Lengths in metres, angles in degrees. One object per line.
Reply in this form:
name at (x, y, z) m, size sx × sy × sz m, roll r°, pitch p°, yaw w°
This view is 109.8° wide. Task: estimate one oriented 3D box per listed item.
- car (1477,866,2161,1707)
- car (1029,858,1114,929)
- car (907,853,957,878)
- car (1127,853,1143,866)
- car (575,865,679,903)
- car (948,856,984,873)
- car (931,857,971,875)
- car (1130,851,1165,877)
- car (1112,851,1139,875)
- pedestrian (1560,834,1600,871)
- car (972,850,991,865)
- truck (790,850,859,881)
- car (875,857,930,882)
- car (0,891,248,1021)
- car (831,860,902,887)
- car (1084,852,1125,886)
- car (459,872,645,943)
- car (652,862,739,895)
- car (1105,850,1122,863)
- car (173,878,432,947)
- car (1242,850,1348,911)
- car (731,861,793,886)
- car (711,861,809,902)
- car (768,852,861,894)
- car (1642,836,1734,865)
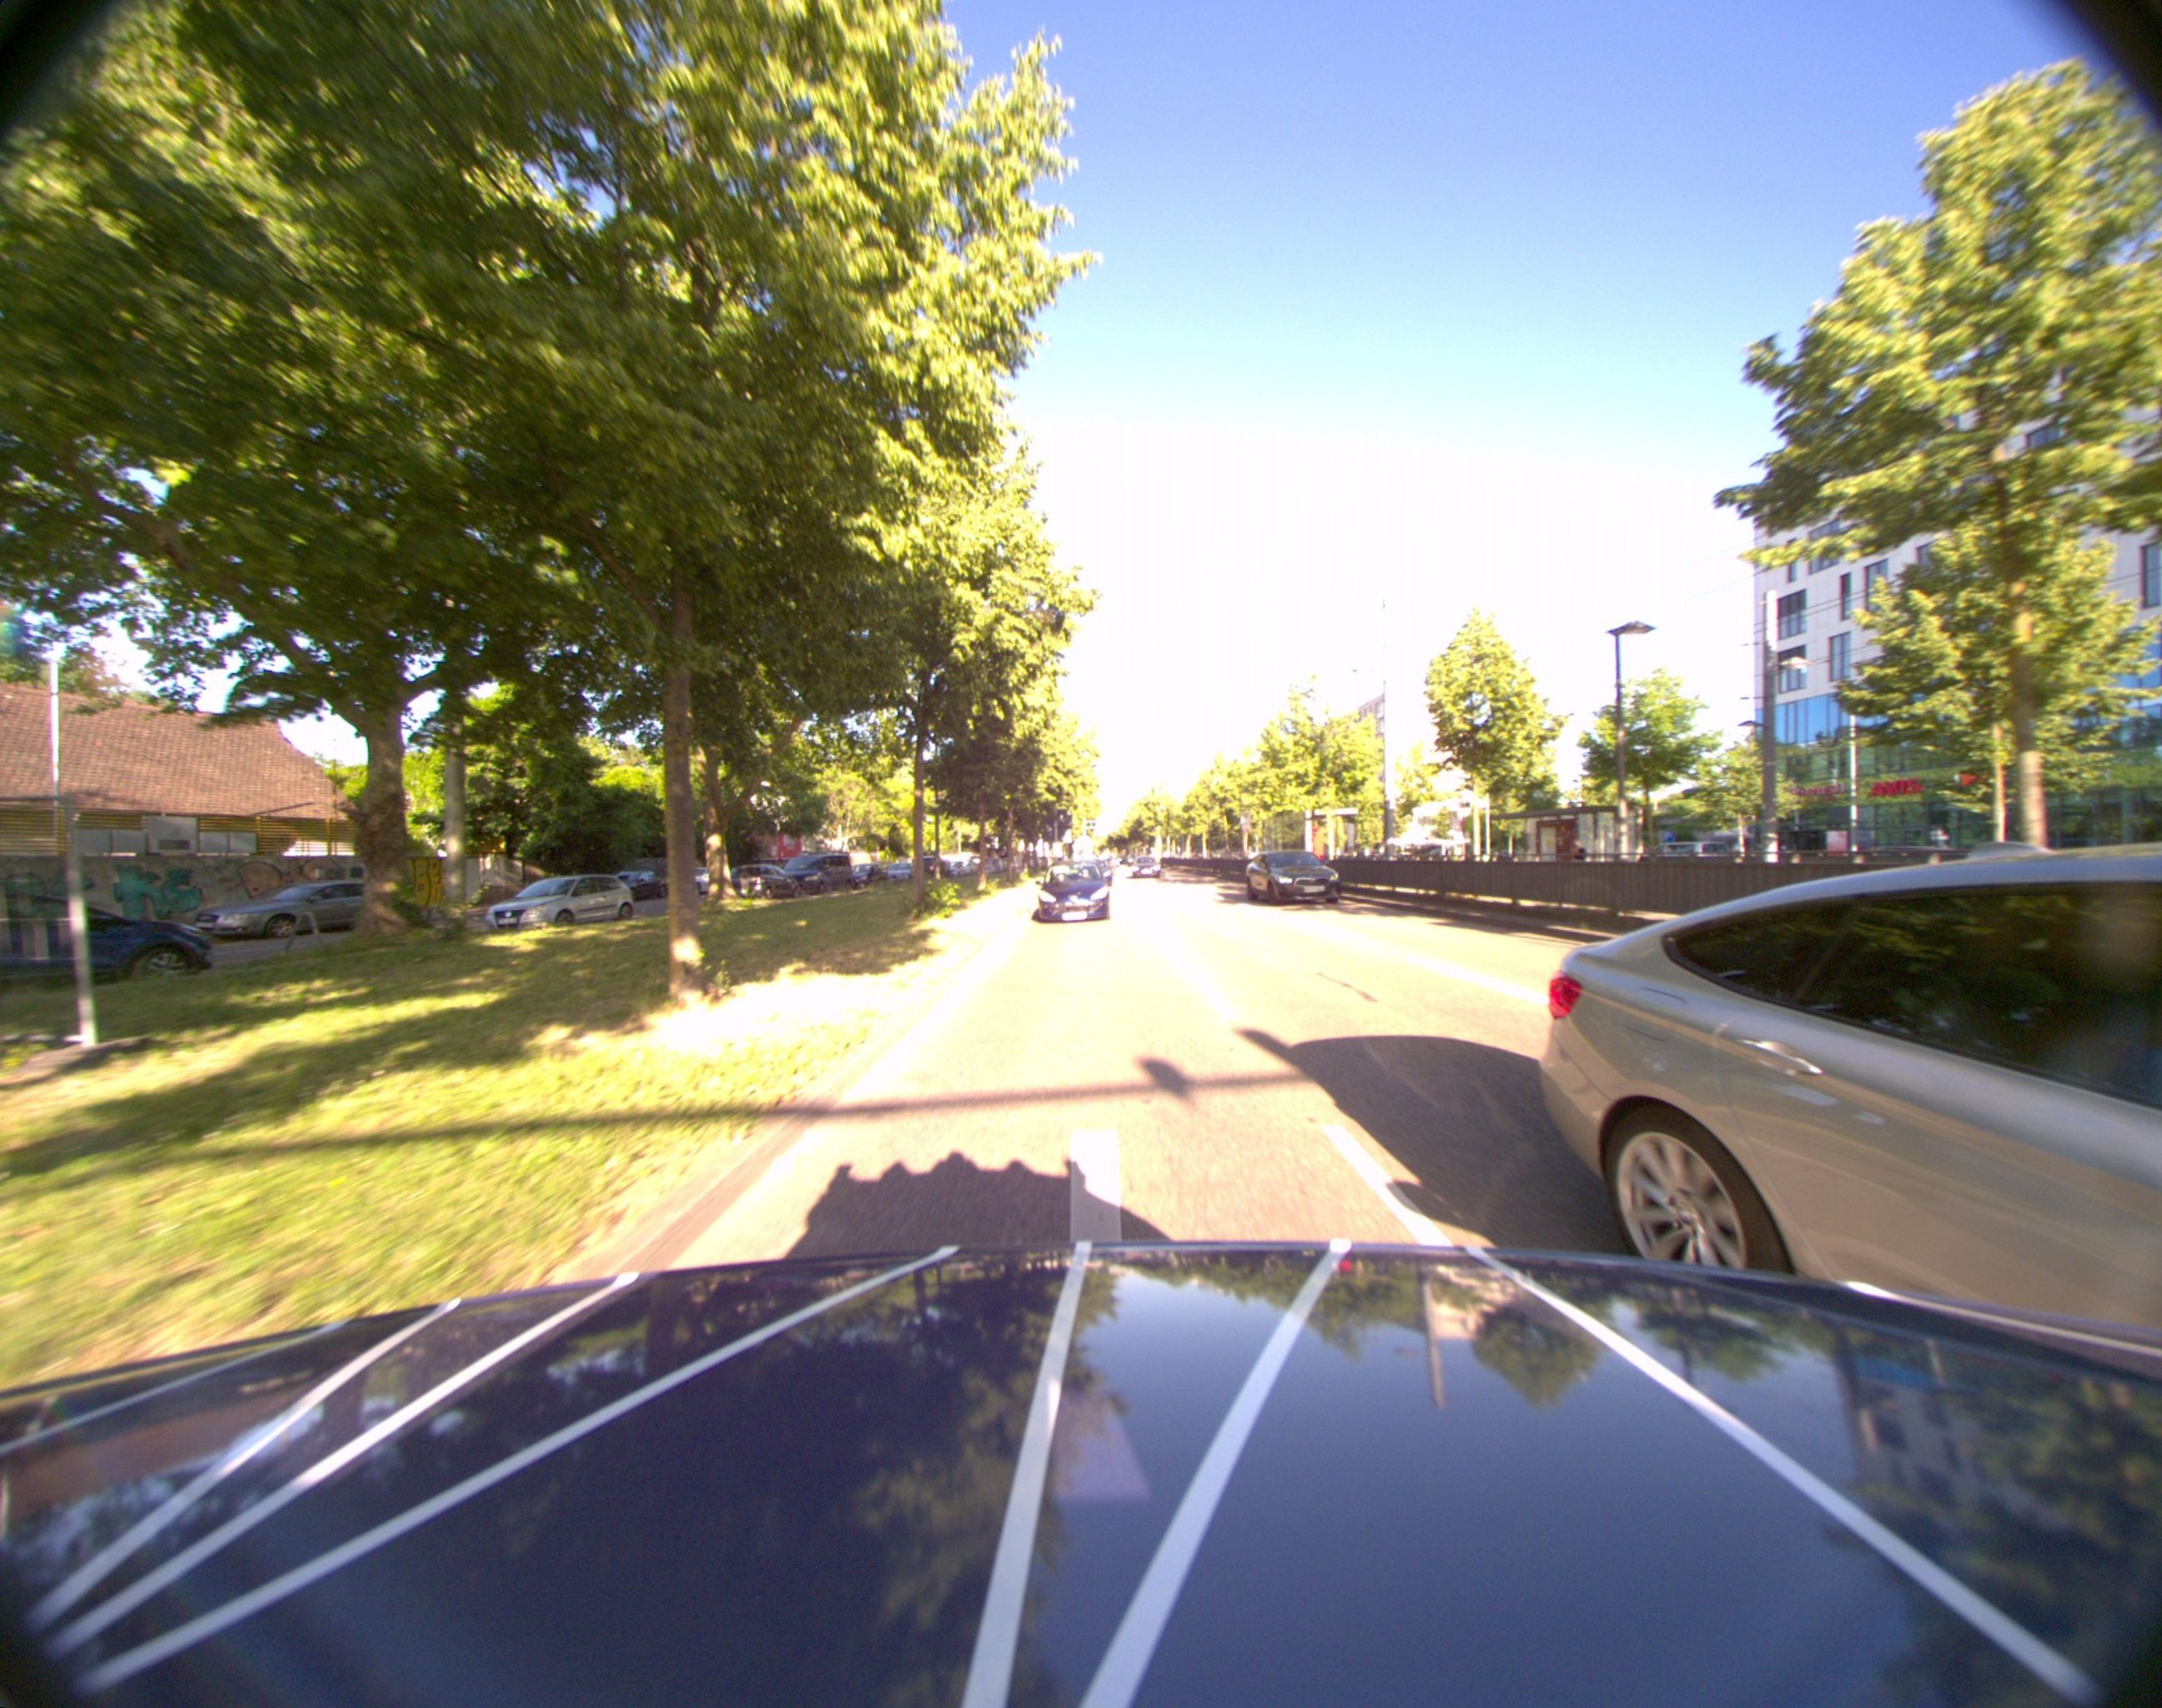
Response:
car at (2.757, 0.863, 0.943) m, size 1.803 × 1.518 × 4.909 m, roll -3°, pitch 0°, yaw -2°
car at (-0.121, 0.930, 19.956) m, size 1.802 × 1.518 × 4.606 m, roll -3°, pitch 0°, yaw 4°
car at (-10.277, 0.756, 52.685) m, size 1.997 × 1.587 × 4.657 m, roll -2°, pitch 0°, yaw 7°
car at (6.662, 0.650, 94.172) m, size 1.675 × 1.418 × 4.006 m, roll -3°, pitch 0°, yaw 2°
car at (-20.890, 1.322, 35.255) m, size 1.998 × 1.520 × 4.654 m, roll 1°, pitch 0°, yaw 1°
car at (-9.593, 0.843, 63.688) m, size 1.998 × 1.308 × 4.547 m, roll -2°, pitch 0°, yaw 3°
car at (-9.901, 0.874, 58.146) m, size 1.998 × 1.203 × 4.115 m, roll -2°, pitch 0°, yaw 6°
car at (4.231, 0.638, 49.109) m, size 1.803 × 1.518 × 4.343 m, roll -3°, pitch 0°, yaw 0°
car at (3.236, 0.642, 55.776) m, size 1.803 × 1.518 × 4.605 m, roll -3°, pitch 1°, yaw 2°
pedestrian at (20.222, -0.072, 30.802) m, size 1.068 × 1.458 × 0.844 m, roll -2°, pitch 1°, yaw 6°
car at (-14.386, 0.458, 109.574) m, size 1.998 × 2.002 × 4.000 m, roll -2°, pitch 0°, yaw 2°
truck at (-18.970, 0.801, 56.671) m, size 2.454 × 2.063 × 6.582 m, roll -2°, pitch 0°, yaw 4°
car at (-11.016, 0.937, 47.246) m, size 1.998 × 1.355 × 4.867 m, roll -2°, pitch 0°, yaw 4°
car at (-14.433, 1.371, 10.002) m, size 1.898 × 1.479 × 4.348 m, roll -2°, pitch 0°, yaw 5°
car at (-11.304, 0.978, 40.414) m, size 1.998 × 1.242 × 4.656 m, roll -2°, pitch 0°, yaw 6°
car at (1.134, 0.686, 37.513) m, size 1.803 × 1.518 × 4.605 m, roll -3°, pitch 0°, yaw 1°
car at (-13.511, 1.296, 19.772) m, size 1.898 × 1.477 × 4.050 m, roll -2°, pitch 0°, yaw 1°
car at (-20.556, 1.269, 40.776) m, size 1.998 × 1.520 × 4.656 m, roll -2°, pitch 0°, yaw 4°
car at (4.003, 0.266, 93.598) m, size 1.998 × 1.543 × 4.001 m, roll -1°, pitch 0°, yaw 4°
car at (-21.556, 1.546, 21.427) m, size 1.898 × 1.477 × 4.915 m, roll -2°, pitch 0°, yaw 6°
car at (6.053, 0.672, 22.016) m, size 1.803 × 1.518 × 4.343 m, roll -3°, pitch 0°, yaw 0°
car at (-19.761, 1.200, 47.316) m, size 1.795 × 1.394 × 4.173 m, roll -2°, pitch 0°, yaw 4°
car at (-12.345, 1.026, 29.537) m, size 1.942 × 1.372 × 3.914 m, roll -2°, pitch 0°, yaw 3°
car at (-12.004, 0.799, 34.629) m, size 2.037 × 1.731 × 5.022 m, roll -2°, pitch 0°, yaw 5°
car at (34.687, -0.197, 43.598) m, size 1.803 × 1.518 × 4.343 m, roll -3°, pitch 0°, yaw 0°
